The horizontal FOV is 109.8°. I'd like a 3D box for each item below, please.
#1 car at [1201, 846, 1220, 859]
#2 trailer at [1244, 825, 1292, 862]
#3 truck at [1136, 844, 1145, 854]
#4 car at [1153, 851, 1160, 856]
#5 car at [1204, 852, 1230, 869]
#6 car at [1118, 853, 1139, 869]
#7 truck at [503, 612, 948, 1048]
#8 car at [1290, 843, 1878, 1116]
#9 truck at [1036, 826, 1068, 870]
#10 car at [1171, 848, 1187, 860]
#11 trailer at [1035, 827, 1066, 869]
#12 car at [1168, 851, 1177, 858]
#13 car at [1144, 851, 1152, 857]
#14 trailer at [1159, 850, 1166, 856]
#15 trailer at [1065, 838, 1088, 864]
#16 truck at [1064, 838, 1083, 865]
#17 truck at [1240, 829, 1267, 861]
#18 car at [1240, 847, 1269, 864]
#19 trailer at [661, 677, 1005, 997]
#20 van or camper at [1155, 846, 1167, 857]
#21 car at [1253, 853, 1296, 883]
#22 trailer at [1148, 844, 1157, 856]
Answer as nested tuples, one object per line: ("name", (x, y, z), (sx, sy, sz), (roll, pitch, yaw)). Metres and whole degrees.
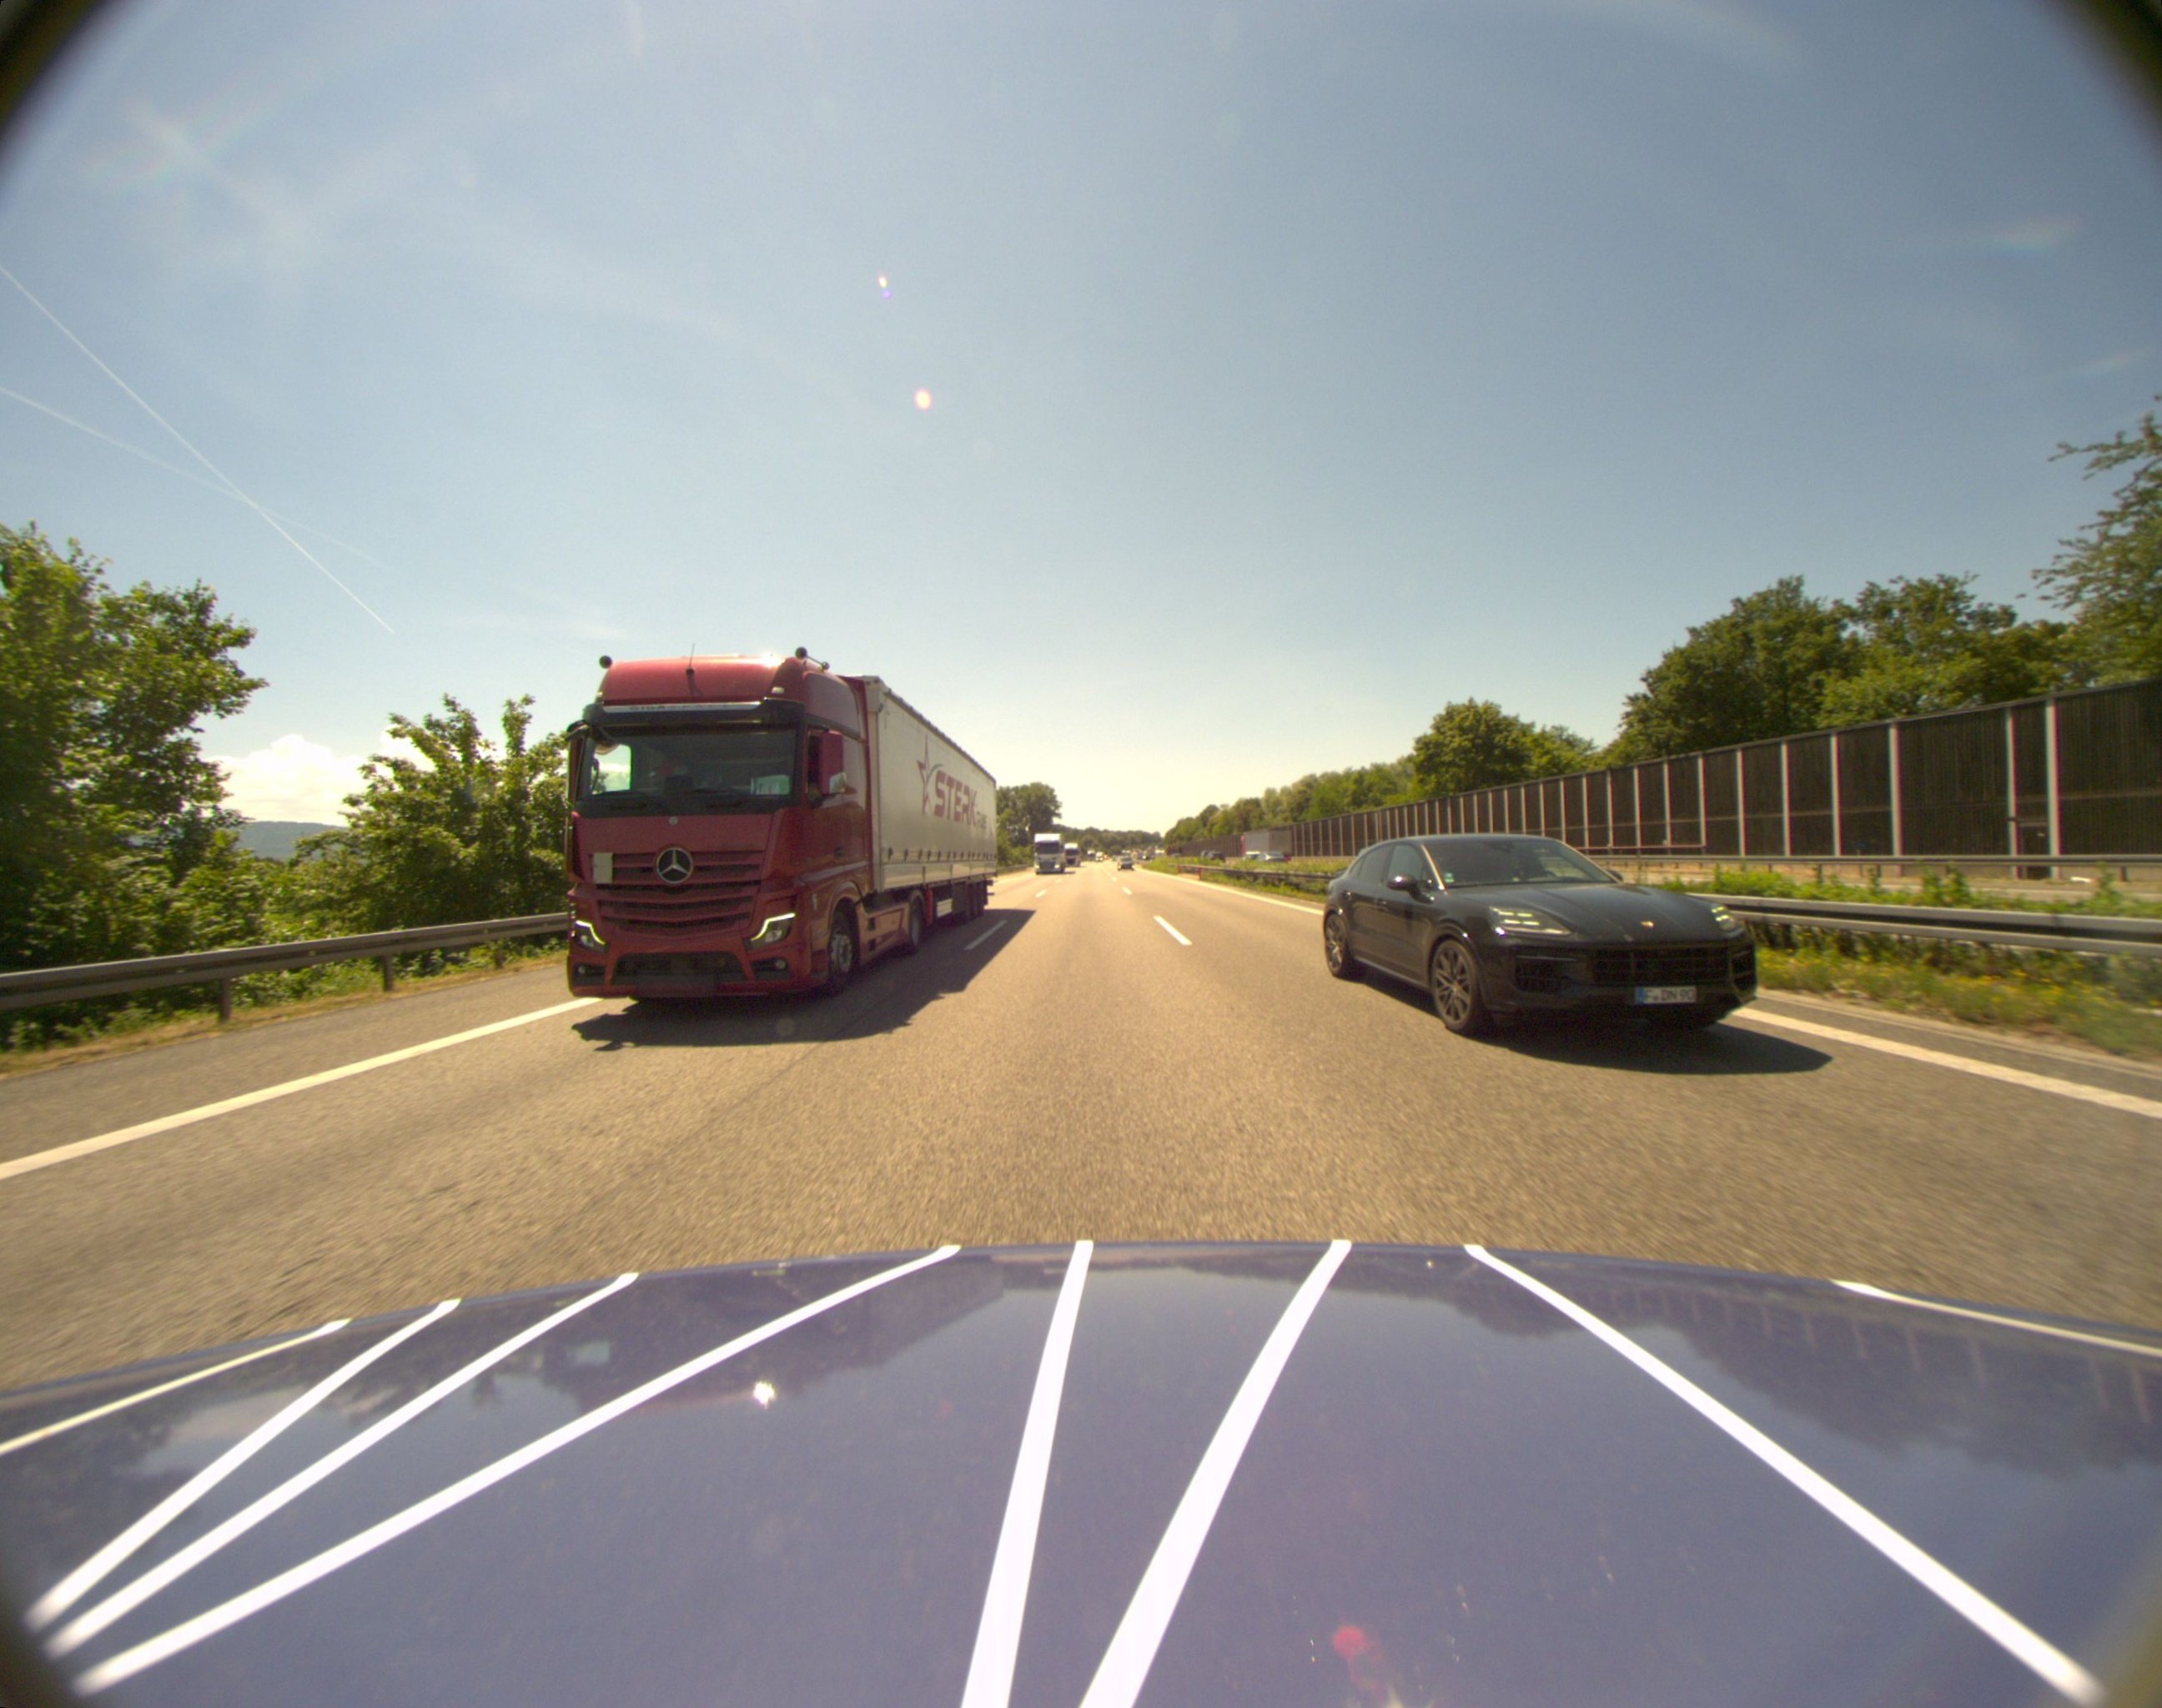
("car", (19.467, -0.204, 114.245), (1.998, 1.805, 5.220), (-2, 0, 1))
("trailer", (22.316, -1.145, 91.582), (2.502, 4.063, 14.270), (-1, 0, 1))
("truck", (20.244, -1.609, 258.284), (2.416, 3.333, 6.919), (-2, 0, 1))
("car", (25.066, -0.174, 251.895), (1.924, 1.366, 4.582), (-2, 0, 2))
("car", (14.744, 0.675, 82.780), (1.998, 1.710, 4.532), (-2, 0, 1))
("car", (5.327, 0.775, 85.176), (1.909, 1.717, 4.375), (-2, 0, -2))
("truck", (-4.009, -0.221, 10.740), (2.714, 4.064, 6.965), (-2, 0, 1))
("car", (3.907, 0.784, 7.590), (2.049, 1.615, 5.772), (-2, 0, 0))
("truck", (-3.010, -0.576, 76.174), (2.967, 4.082, 6.204), (-2, 0, -4))
("car", (15.236, -0.014, 118.005), (1.998, 1.710, 4.245), (-2, 0, 1))
("trailer", (-3.369, -0.556, 81.610), (2.967, 4.082, 12.528), (-2, 0, -4))
("car", (21.404, 0.094, 177.572), (1.818, 1.590, 4.000), (-2, 0, 1))
("car", (17.764, -0.016, 201.562), (1.710, 1.347, 4.000), (-2, 0, 1))
("trailer", (23.525, -0.191, 219.548), (1.731, 1.569, 3.092), (6, 0, 0))
("trailer", (-0.708, -0.496, 138.088), (2.541, 4.445, 14.165), (-2, 0, 5))
("truck", (-1.257, -0.472, 130.995), (2.541, 4.446, 5.574), (-2, 0, 5))
("truck", (22.430, -1.156, 99.080), (2.493, 4.063, 4.677), (-1, 0, 1))
("car", (18.566, 0.184, 81.447), (1.998, 1.710, 4.532), (-2, 0, 1))
("trailer", (-3.925, -0.227, 16.927), (2.714, 4.064, 14.151), (-2, 0, 1))
("van or camper", (23.622, -0.786, 224.739), (2.564, 2.896, 7.375), (6, 0, 1))
("car", (14.014, 0.979, 55.142), (1.998, 1.936, 4.000), (-5, 0, 1))
("trailer", (25.462, -1.377, 272.005), (2.346, 4.052, 14.211), (-2, 0, 2))
